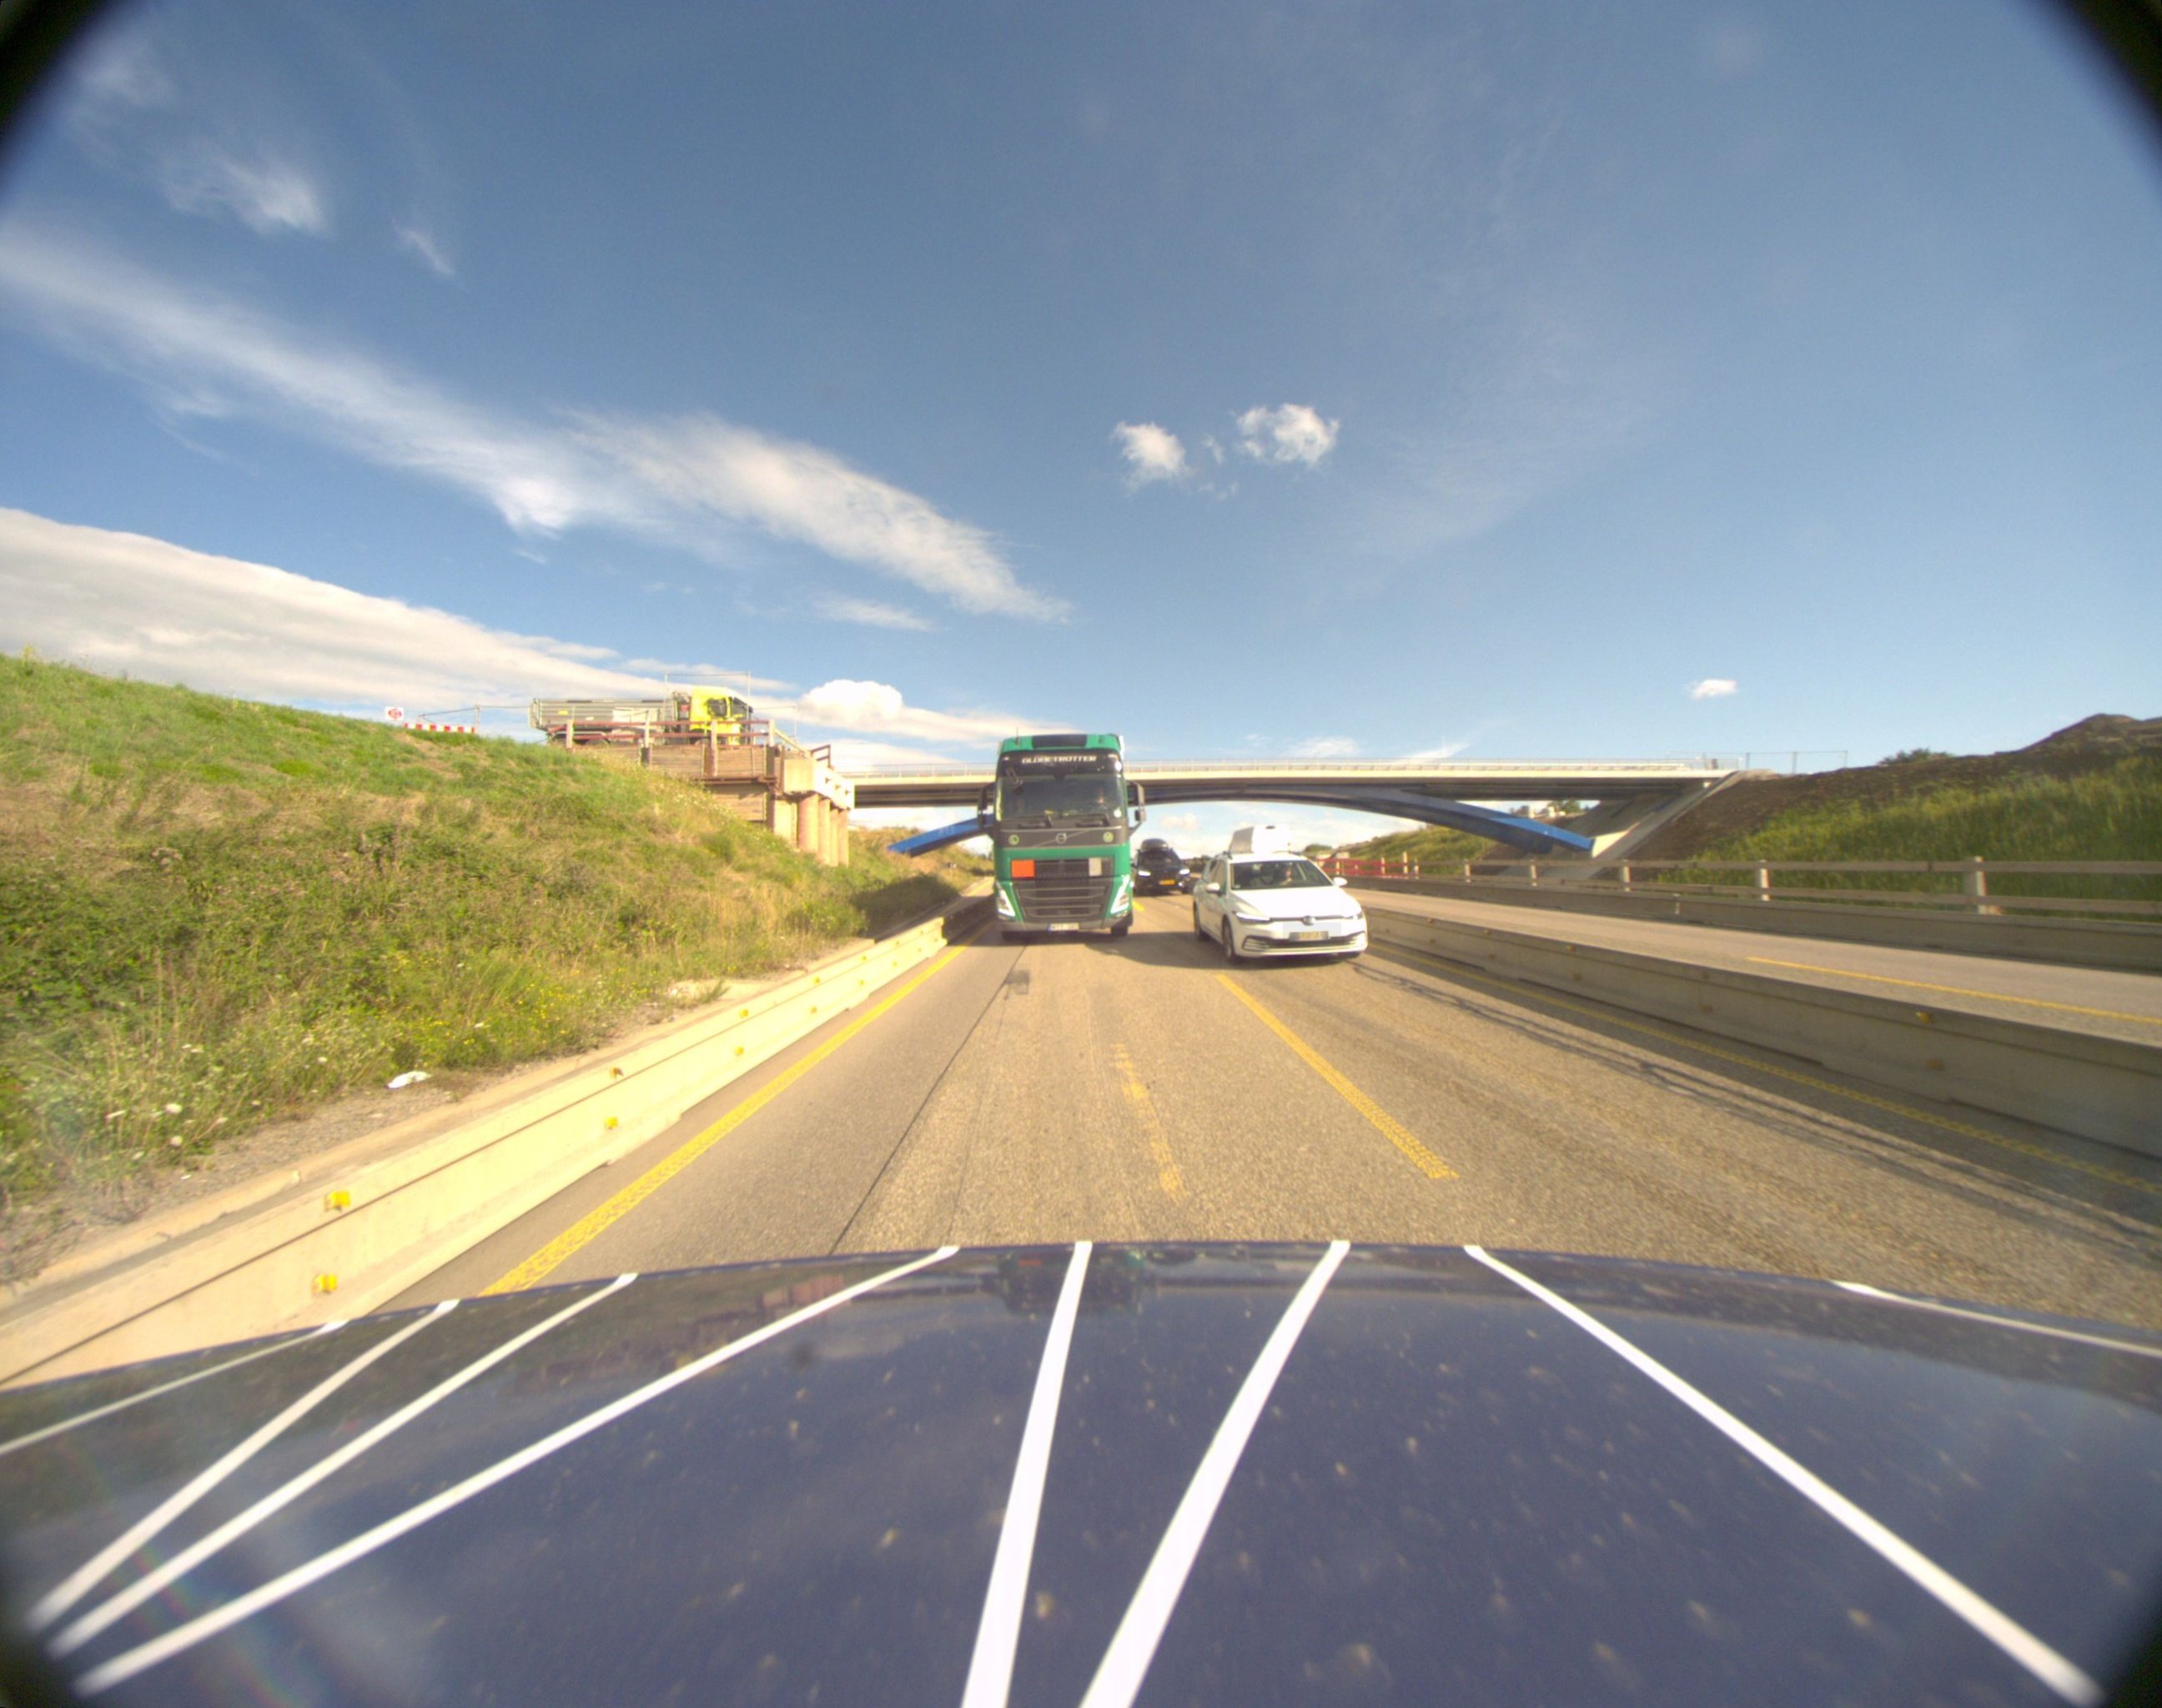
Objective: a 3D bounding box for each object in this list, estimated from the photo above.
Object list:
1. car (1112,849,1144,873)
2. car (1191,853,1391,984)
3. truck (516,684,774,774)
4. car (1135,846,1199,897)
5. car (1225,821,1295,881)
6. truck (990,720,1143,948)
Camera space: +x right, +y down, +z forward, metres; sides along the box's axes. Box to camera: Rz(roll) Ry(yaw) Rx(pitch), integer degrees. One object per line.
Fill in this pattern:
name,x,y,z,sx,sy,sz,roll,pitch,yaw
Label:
car,3.115,0.448,51.163,1.855,1.488,4.300,-2,0,0
car,2.869,0.783,11.426,1.825,1.487,4.374,-3,0,1
truck,-18.693,-5.382,33.103,9.289,3.209,2.959,-2,0,-3
car,3.047,0.567,27.784,1.855,1.667,4.260,-2,0,1
car,9.123,-0.155,39.280,2.115,2.819,6.137,1,1,0
truck,-0.299,-0.364,17.413,2.546,3.899,8.278,-2,0,-1
